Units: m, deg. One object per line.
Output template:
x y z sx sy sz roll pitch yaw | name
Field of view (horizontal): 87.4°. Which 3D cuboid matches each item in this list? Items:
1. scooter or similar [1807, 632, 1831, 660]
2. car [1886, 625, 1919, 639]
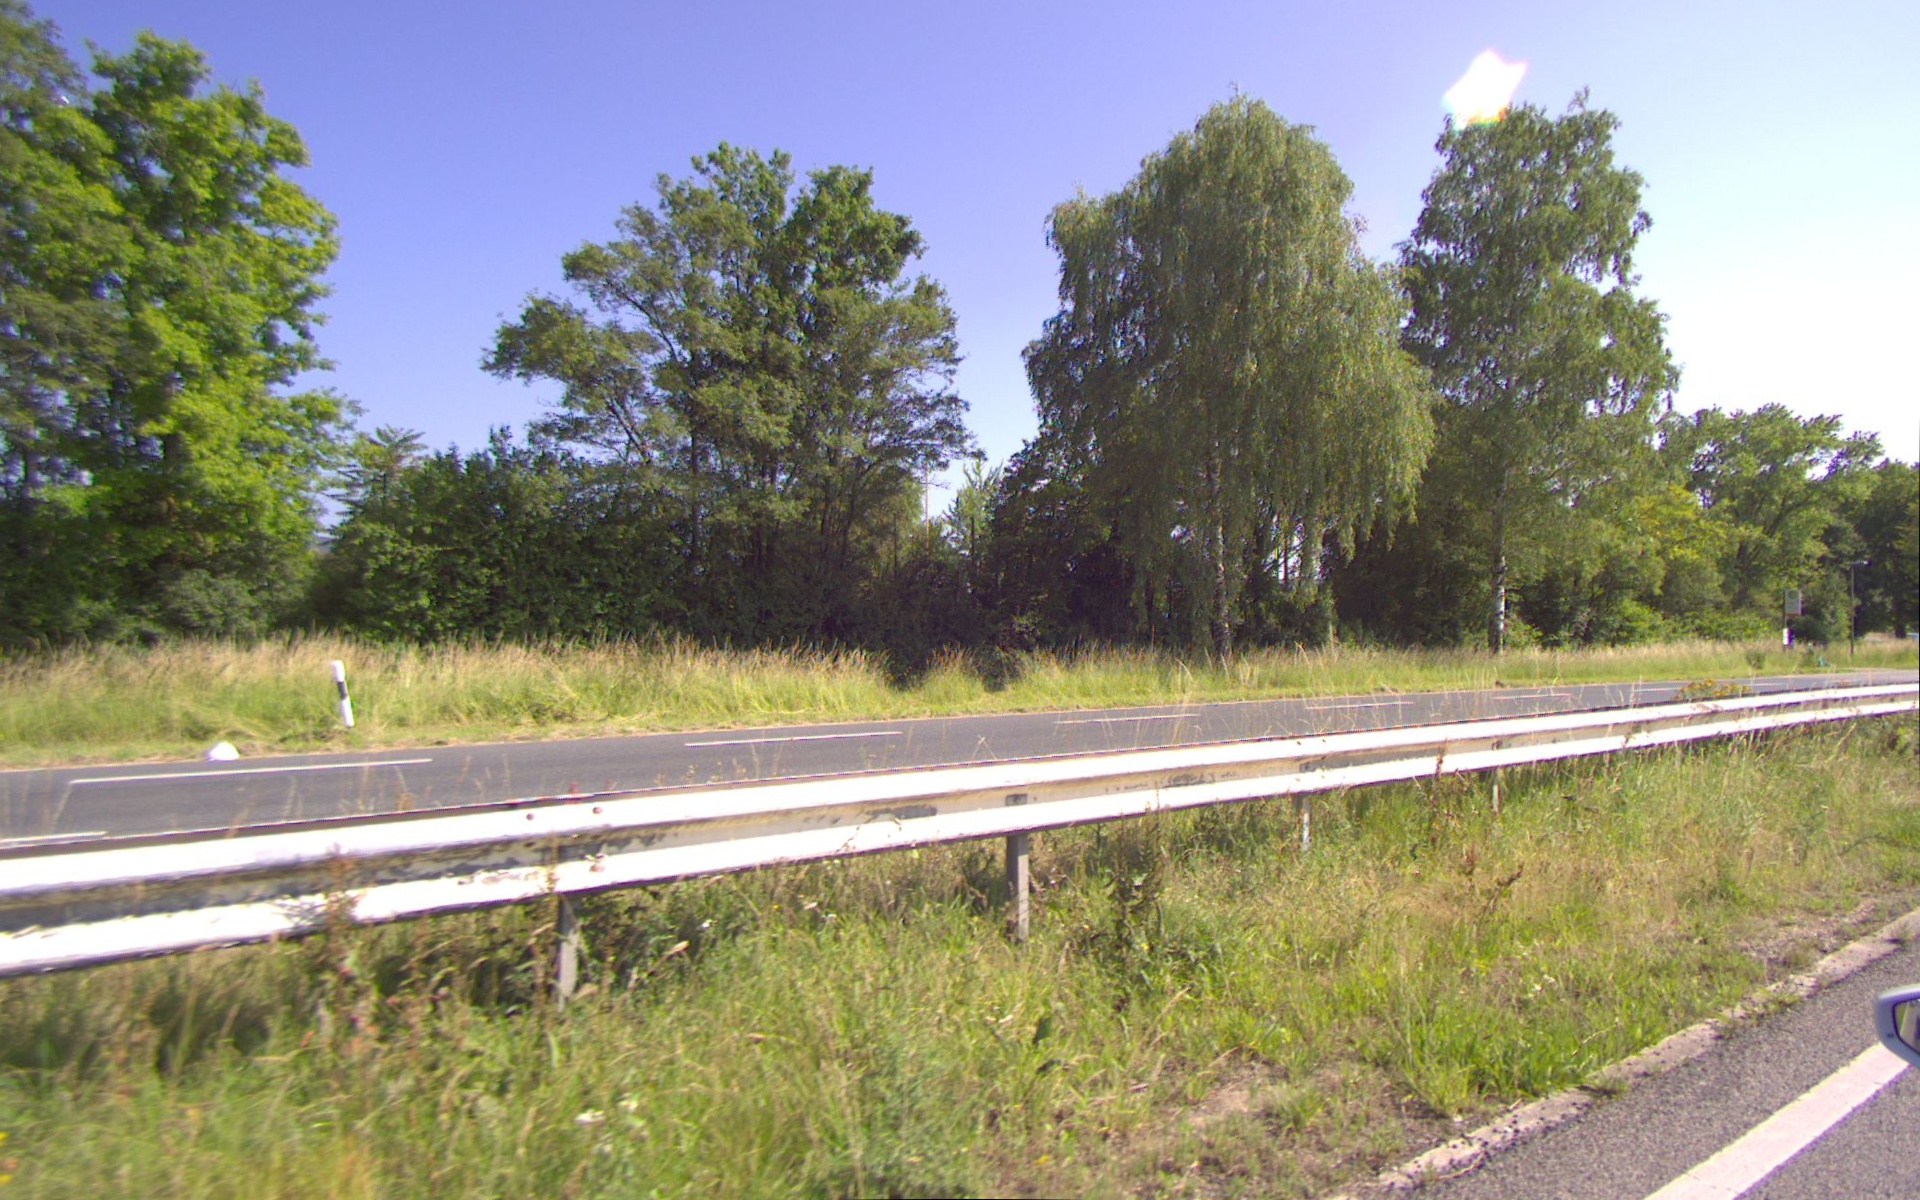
37.329 2.000 43.643 1.325 1.201 0.366 1 -2 -31 | scooter or similar
112.725 3.826 119.366 1.964 1.627 4.271 0 -1 12 | car
